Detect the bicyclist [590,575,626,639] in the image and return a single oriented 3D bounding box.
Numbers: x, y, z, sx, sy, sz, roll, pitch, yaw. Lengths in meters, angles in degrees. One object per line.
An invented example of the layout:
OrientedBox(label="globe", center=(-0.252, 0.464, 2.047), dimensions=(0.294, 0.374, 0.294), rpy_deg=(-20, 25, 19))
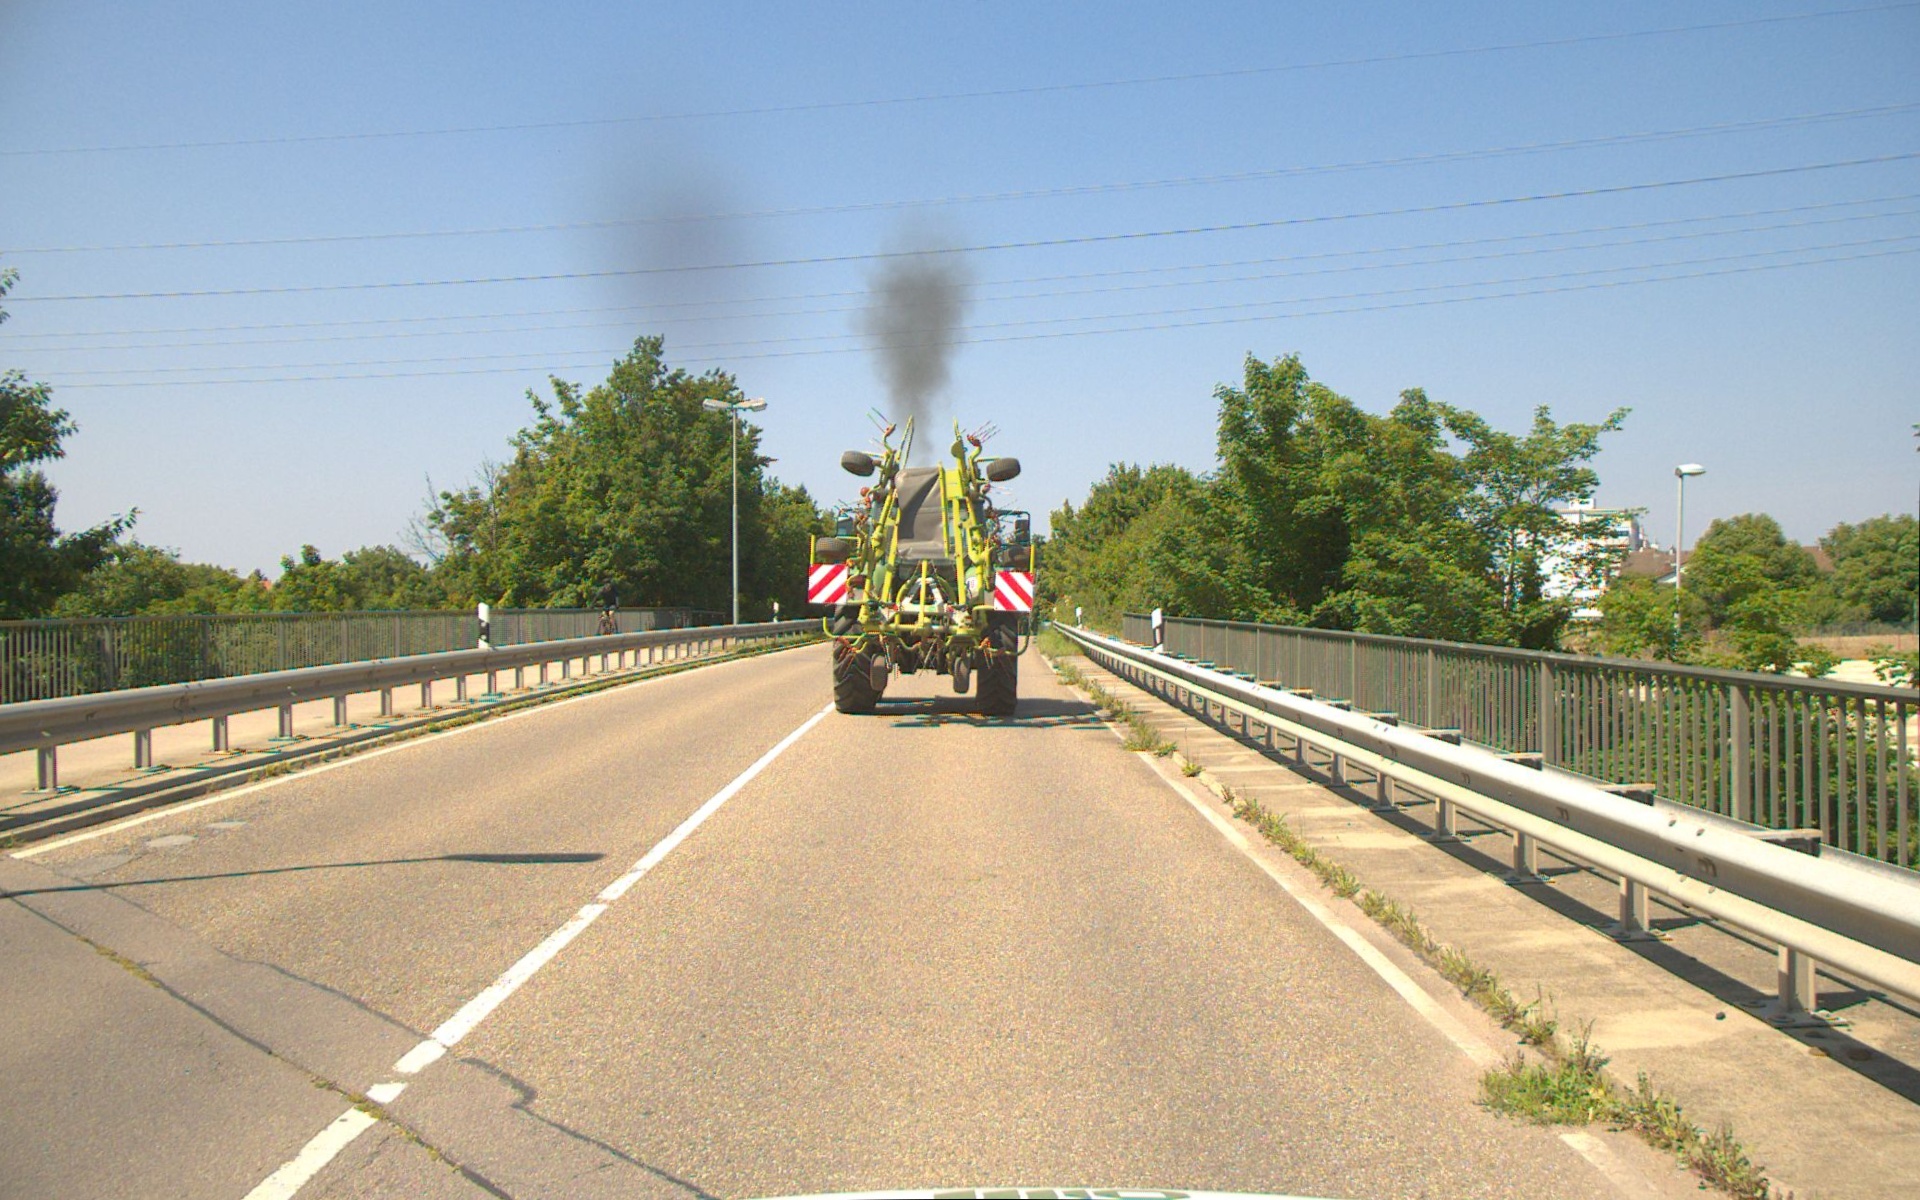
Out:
OrientedBox(label="bicyclist", center=(-9.214, 0.168, 43.326), dimensions=(0.749, 1.662, 0.895), rpy_deg=(0, 1, -2))

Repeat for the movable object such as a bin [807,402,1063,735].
OrientedBox(label="movable object such as a bin", center=(-0.350, -0.383, 20.299), dimensions=(2.700, 3.504, 5.668), rpy_deg=(0, 1, -2))

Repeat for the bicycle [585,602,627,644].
OrientedBox(label="bicycle", center=(-9.255, 0.593, 43.305), dimensions=(0.663, 1.019, 2.118), rpy_deg=(-1, 1, -2))
